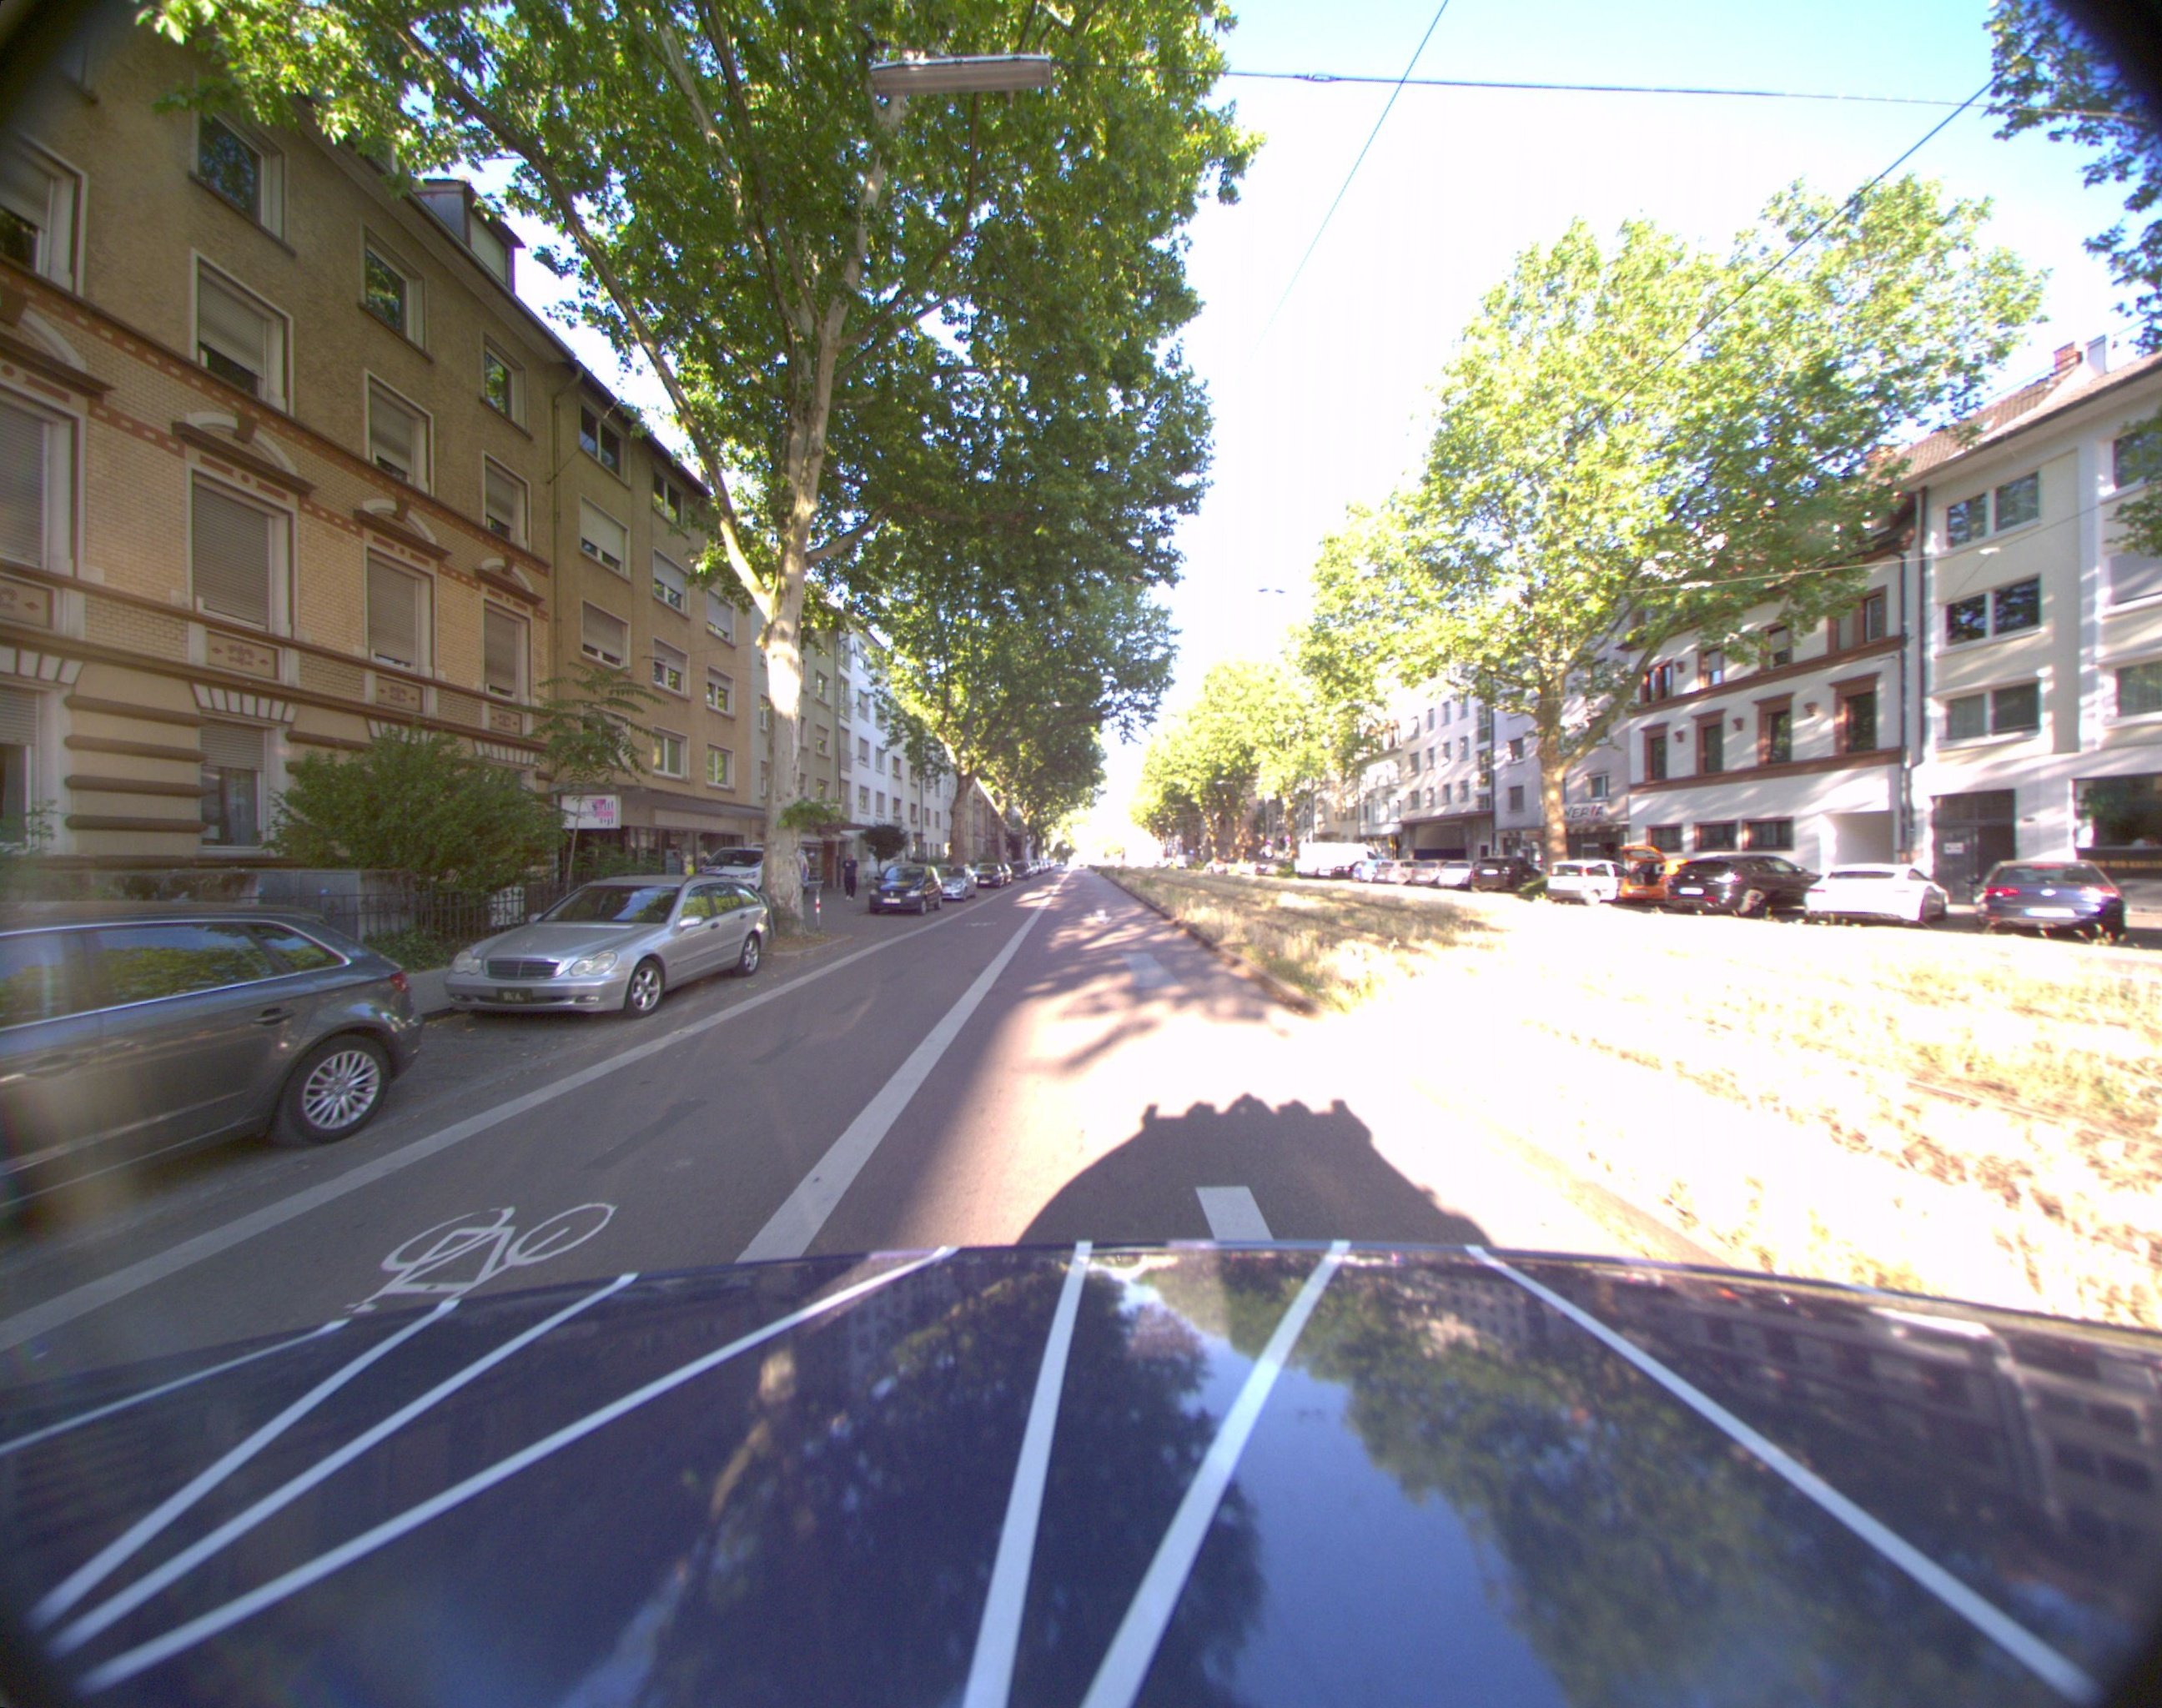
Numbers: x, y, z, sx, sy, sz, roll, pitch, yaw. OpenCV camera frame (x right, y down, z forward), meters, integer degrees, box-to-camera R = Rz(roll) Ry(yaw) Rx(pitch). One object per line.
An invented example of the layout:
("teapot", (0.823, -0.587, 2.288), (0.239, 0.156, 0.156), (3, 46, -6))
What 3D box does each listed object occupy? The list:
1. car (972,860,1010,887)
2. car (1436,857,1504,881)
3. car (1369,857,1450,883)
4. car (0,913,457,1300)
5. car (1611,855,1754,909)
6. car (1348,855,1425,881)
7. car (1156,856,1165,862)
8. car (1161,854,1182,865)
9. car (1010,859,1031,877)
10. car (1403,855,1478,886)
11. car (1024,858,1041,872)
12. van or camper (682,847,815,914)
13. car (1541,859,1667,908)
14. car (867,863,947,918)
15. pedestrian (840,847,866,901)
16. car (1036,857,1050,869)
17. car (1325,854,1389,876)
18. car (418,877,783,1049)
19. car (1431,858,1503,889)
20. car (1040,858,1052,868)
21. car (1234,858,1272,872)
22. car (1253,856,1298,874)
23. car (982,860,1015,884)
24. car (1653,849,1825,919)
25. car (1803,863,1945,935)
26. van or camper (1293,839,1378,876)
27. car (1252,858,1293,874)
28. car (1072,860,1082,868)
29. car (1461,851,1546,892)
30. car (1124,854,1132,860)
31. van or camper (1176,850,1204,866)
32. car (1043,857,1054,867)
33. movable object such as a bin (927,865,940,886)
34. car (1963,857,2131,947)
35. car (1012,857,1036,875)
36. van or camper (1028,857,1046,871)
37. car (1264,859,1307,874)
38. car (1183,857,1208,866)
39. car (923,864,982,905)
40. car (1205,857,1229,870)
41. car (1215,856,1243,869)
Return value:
("car", (-5.281, 1.134, 45.083), (1.713, 1.407, 4.363), (2, 0, 0))
("car", (28.626, 1.096, 55.978), (3.997, 1.710, 1.906), (0, 0, -1))
("car", (19.207, 0.923, 44.468), (4.002, 1.483, 1.948), (0, 0, -13))
("car", (-5.186, 1.095, 3.066), (1.714, 1.388, 4.321), (0, 0, 1))
("car", (19.515, 0.875, 24.648), (4.003, 1.471, 1.774), (-3, 0, -20))
("car", (19.000, 0.859, 47.391), (3.998, 1.412, 1.857), (-2, 0, -4))
("car", (21.050, 1.295, 202.073), (1.998, 1.412, 4.000), (-2, 0, 2))
("car", (18.457, 1.090, 154.201), (4.007, 2.002, 1.995), (-3, 1, -42))
("car", (-5.226, 1.166, 65.895), (1.748, 1.455, 4.024), (0, 0, -5))
("car", (19.093, 0.863, 40.337), (4.006, 1.414, 1.752), (-3, 1, -34))
("car", (-5.471, 1.187, 85.815), (1.702, 1.517, 4.194), (0, 0, 0))
("van or camper", (-10.420, 0.762, 24.368), (1.947, 1.911, 5.391), (0, 0, -1))
("car", (18.057, 0.959, 26.200), (4.369, 1.440, 1.655), (-1, 1, -26))
("car", (-5.411, 1.091, 24.128), (1.658, 1.536, 4.000), (0, 0, -1))
("pedestrian", (-8.606, 0.751, 28.711), (0.684, 2.002, 1.012), (0, 0, -2))
("car", (-5.388, 1.282, 109.138), (1.790, 1.609, 3.829), (1, 0, 0))
("car", (19.750, 0.787, 54.330), (4.004, 1.482, 1.996), (0, -1, -22))
("car", (-5.341, 1.080, 9.333), (1.678, 1.443, 4.570), (0, 0, -2))
("car", (18.979, 0.940, 37.295), (4.008, 1.377, 1.907), (-2, 0, -45))
("car", (-5.504, 1.373, 119.211), (1.790, 1.458, 3.569), (1, 0, 0))
("car", (18.280, 1.171, 80.820), (3.687, 1.381, 1.822), (-1, 0, -31))
("car", (18.707, 1.072, 72.936), (4.169, 1.583, 1.932), (2, -1, -36))
("car", (-5.362, 1.164, 49.974), (1.713, 1.407, 4.363), (2, 0, 0))
("car", (18.311, 0.812, 21.138), (4.370, 1.776, 1.989), (2, 0, -26))
("car", (18.645, 0.968, 17.810), (4.212, 1.325, 1.718), (-3, 1, -36))
("van or camper", (19.028, 0.258, 56.842), (5.974, 2.630, 2.175), (-1, 0, -20))
("car", (19.285, 1.173, 76.315), (4.008, 1.524, 1.821), (2, -1, -36))
("car", (-0.887, 2.112, 161.860), (1.893, 1.501, 4.000), (-2, 0, 1))
("car", (18.709, 0.764, 33.620), (4.008, 1.651, 1.995), (-1, 0, -41))
("car", (12.662, 0.719, 204.702), (1.997, 1.477, 4.002), (-2, 0, 8))
("van or camper", (18.479, 0.625, 129.113), (4.371, 2.386, 2.196), (-4, 1, -40))
("car", (-5.449, 1.346, 126.504), (1.791, 1.585, 4.013), (1, 0, -1))
("movable object such as a bin", (-8.305, 1.199, 42.892), (0.617, 1.152, 0.666), (0, 1, -3))
("car", (19.369, 0.873, 15.411), (4.007, 1.433, 1.797), (-3, 1, -42))
("car", (-5.421, 1.146, 72.672), (1.999, 1.557, 4.663), (2, 0, 0))
("van or camper", (-5.330, 1.186, 92.114), (1.790, 1.710, 4.379), (1, 0, 1))
("car", (18.758, 1.153, 69.648), (4.014, 1.349, 1.797), (1, -1, -37))
("car", (19.090, 1.177, 126.587), (4.006, 1.240, 1.726), (-4, 1, -34))
("car", (-5.287, 1.211, 31.883), (1.699, 1.533, 4.776), (0, 0, -1))
("car", (15.119, 1.005, 84.498), (1.825, 1.381, 4.483), (2, 0, -1))
("car", (18.917, 1.092, 96.796), (1.726, 1.643, 4.009), (-1, -1, 40))
